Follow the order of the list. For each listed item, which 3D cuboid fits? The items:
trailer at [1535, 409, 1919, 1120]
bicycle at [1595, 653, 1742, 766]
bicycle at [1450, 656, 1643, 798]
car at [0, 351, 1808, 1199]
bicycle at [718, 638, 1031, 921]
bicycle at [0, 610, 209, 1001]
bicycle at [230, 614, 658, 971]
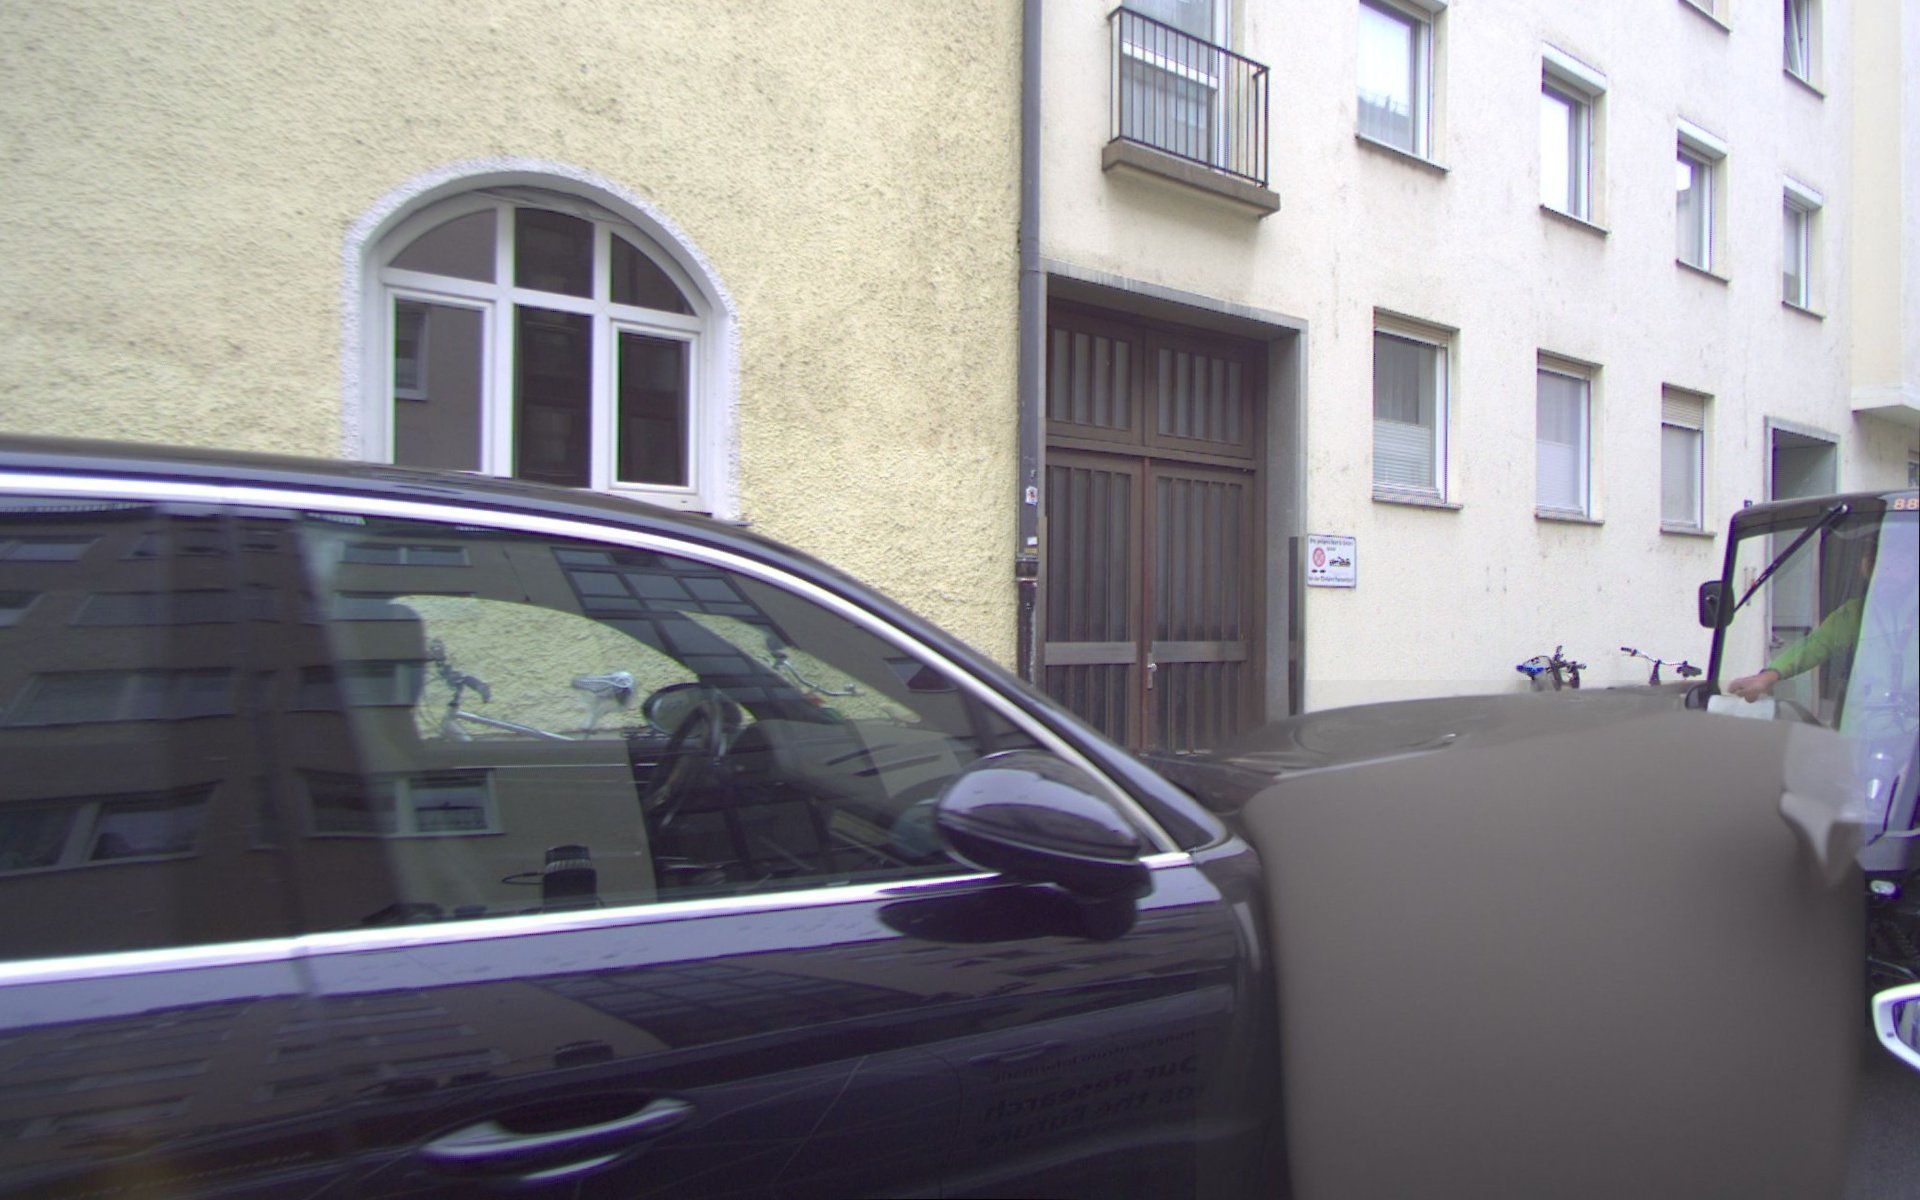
[{"bbox_3d":[4.111,0.536,4.268,3.276,2.144,1.350,2,-1,-28],"label":"trailer"},{"bbox_3d":[7.166,1.063,10.130,1.839,1.012,0.510,2,1,-32],"label":"bicycle"},{"bbox_3d":[5.125,1.048,8.748,1.794,1.041,0.725,0,1,-33],"label":"bicycle"},{"bbox_3d":[-0.652,0.701,1.758,4.361,1.682,1.871,1,-2,-29],"label":"car"},{"bbox_3d":[-0.435,0.873,5.369,1.535,1.296,0.590,2,2,-32],"label":"bicycle"},{"bbox_3d":[-3.586,0.689,3.457,1.535,1.296,0.532,2,2,-32],"label":"bicycle"},{"bbox_3d":[-2.163,0.735,4.335,1.535,1.296,0.532,2,2,-32],"label":"bicycle"}]
